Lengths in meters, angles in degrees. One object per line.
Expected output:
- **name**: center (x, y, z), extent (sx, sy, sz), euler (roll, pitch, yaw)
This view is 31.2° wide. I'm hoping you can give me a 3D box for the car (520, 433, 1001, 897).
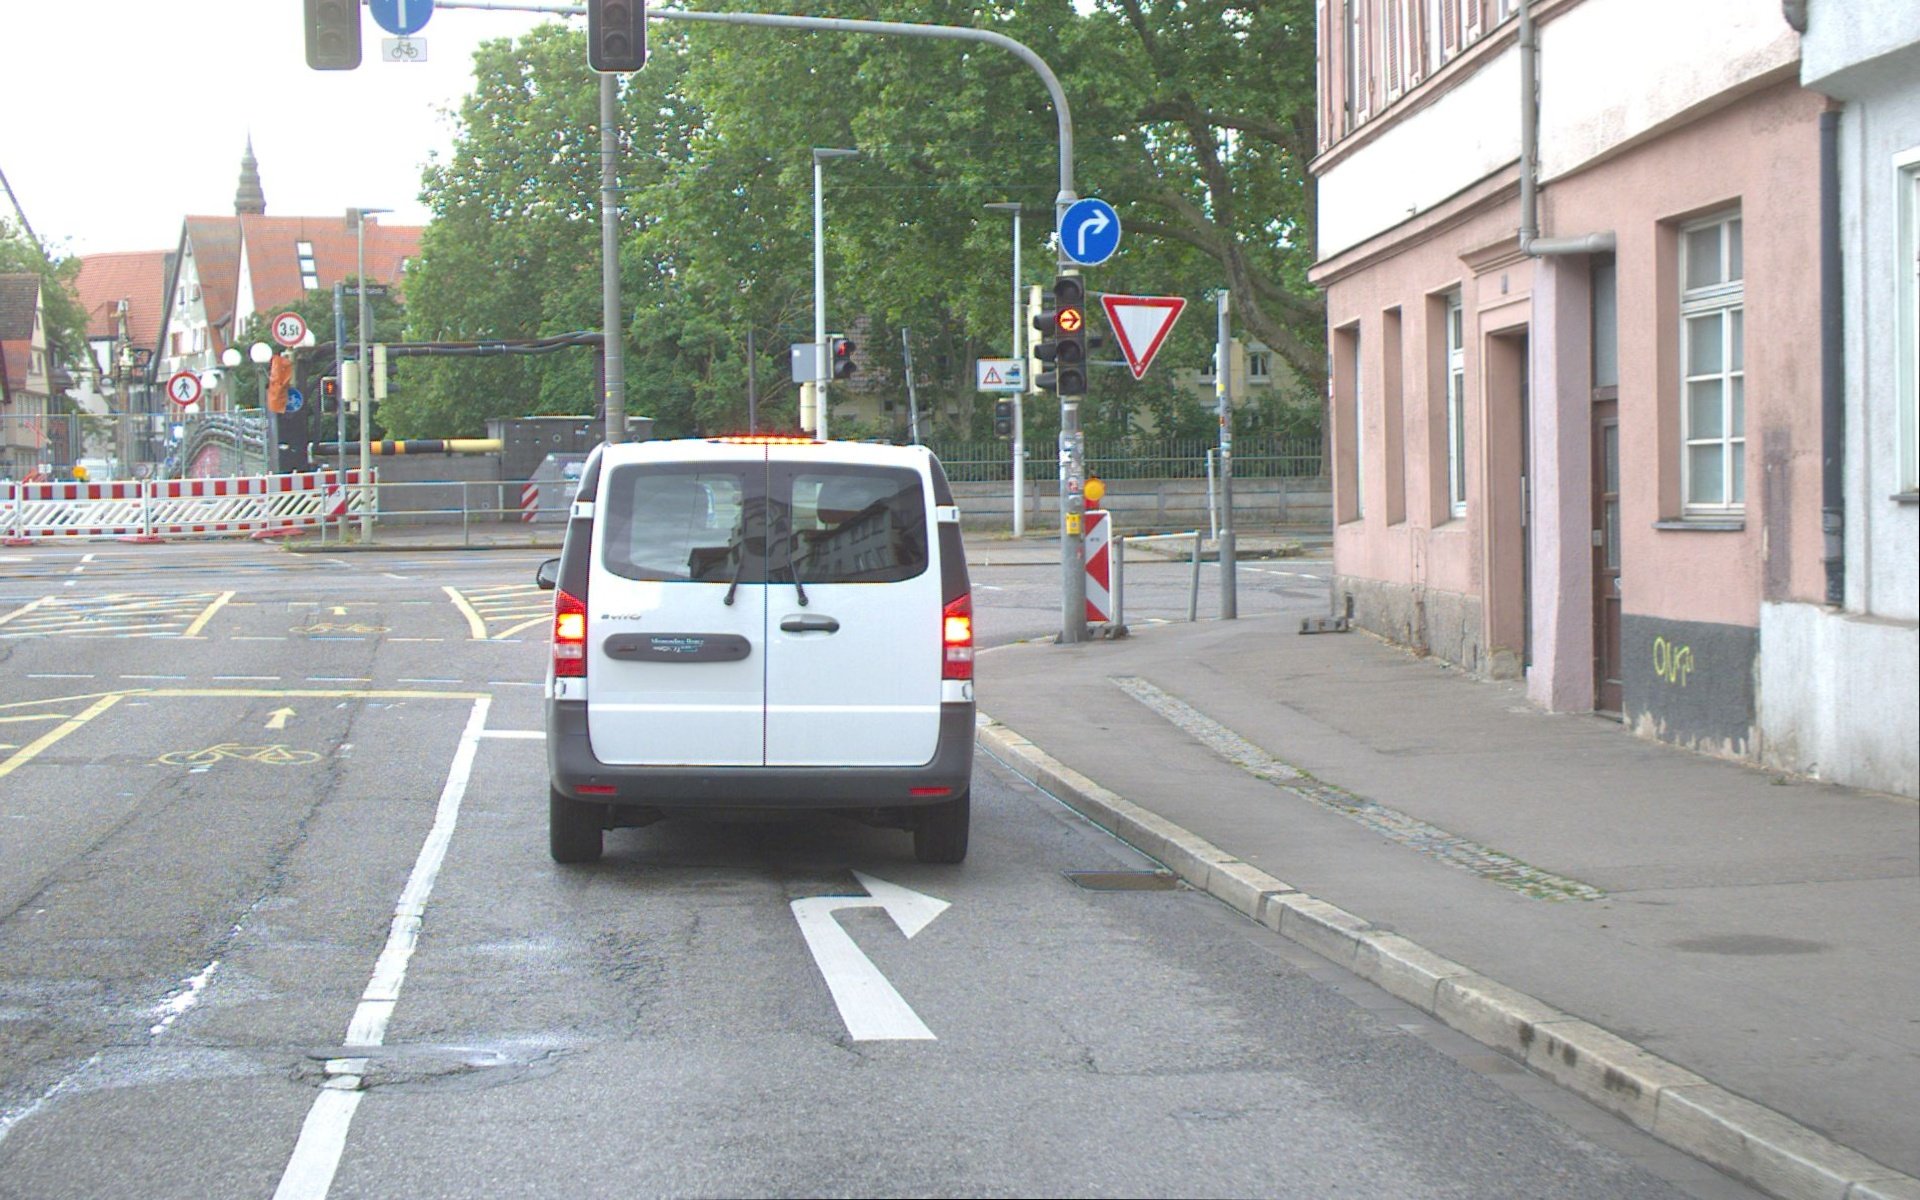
- **car**: center (-1.074, 0.205, 16.420), extent (1.993, 1.916, 4.250), euler (0, 2, -7)
